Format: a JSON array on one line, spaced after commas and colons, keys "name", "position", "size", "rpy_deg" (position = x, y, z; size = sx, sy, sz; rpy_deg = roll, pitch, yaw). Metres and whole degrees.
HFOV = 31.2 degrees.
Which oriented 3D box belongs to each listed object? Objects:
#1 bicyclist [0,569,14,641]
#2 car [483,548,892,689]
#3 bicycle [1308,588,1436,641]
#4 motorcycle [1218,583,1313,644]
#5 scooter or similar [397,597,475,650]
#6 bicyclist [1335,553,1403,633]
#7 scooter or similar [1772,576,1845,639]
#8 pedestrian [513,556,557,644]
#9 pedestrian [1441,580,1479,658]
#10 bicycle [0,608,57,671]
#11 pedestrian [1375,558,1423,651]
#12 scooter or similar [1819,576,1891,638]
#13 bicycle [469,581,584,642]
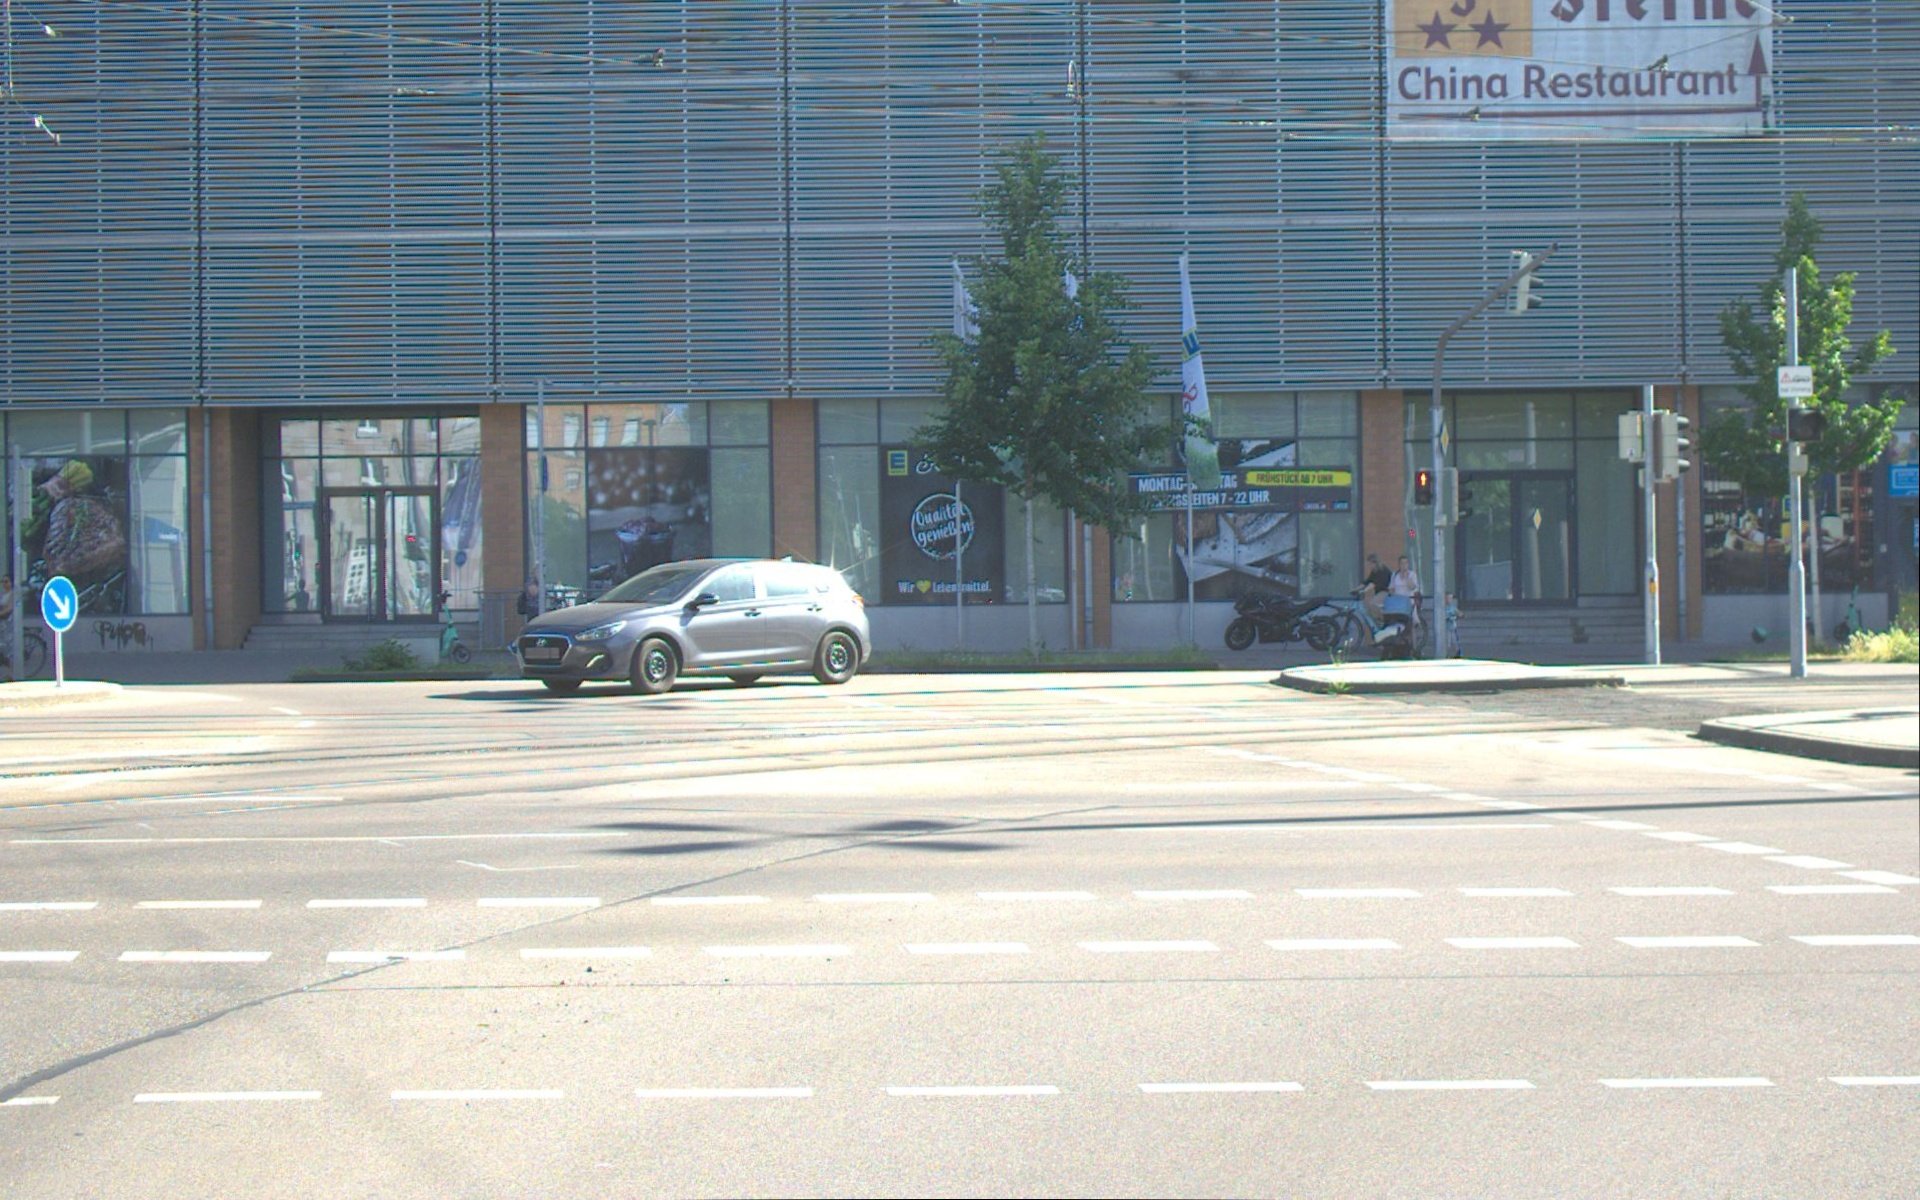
[{"name": "bicyclist", "position": [-15.278, 0.075, 54.197], "size": [0.562, 1.136, 0.560], "rpy_deg": [-1, 0, -33]}, {"name": "car", "position": [-3.011, 0.172, 38.597], "size": [4.298, 1.494, 1.999], "rpy_deg": [-1, 1, -45]}, {"name": "bicycle", "position": [6.903, 0.244, 57.655], "size": [2.041, 0.864, 0.682], "rpy_deg": [0, 0, -1]}, {"name": "motorcycle", "position": [5.332, 0.236, 60.064], "size": [1.614, 1.035, 0.402], "rpy_deg": [0, 0, 1]}, {"name": "scooter or similar", "position": [-8.520, 0.387, 55.861], "size": [1.223, 0.848, 0.301], "rpy_deg": [0, 0, -3]}, {"name": "bicyclist", "position": [6.851, -0.120, 57.663], "size": [1.036, 1.314, 0.682], "rpy_deg": [0, 0, -1]}, {"name": "scooter or similar", "position": [15.066, 0.130, 61.049], "size": [1.202, 1.099, 0.277], "rpy_deg": [1, 0, 2]}, {"name": "pedestrian", "position": [-7.311, -0.002, 59.130], "size": [0.647, 1.514, 0.491], "rpy_deg": [0, 0, 4]}, {"name": "pedestrian", "position": [7.882, 0.297, 54.190], "size": [0.447, 1.225, 0.397], "rpy_deg": [-1, 0, -40]}, {"name": "bicycle", "position": [-15.305, 0.627, 54.174], "size": [2.015, 0.982, 0.560], "rpy_deg": [-1, 0, -33]}, {"name": "pedestrian", "position": [7.026, 0.065, 54.974], "size": [0.739, 1.482, 0.490], "rpy_deg": [0, 0, 10]}, {"name": "scooter or similar", "position": [15.976, 0.124, 61.357], "size": [1.202, 1.099, 0.277], "rpy_deg": [1, 0, 2]}, {"name": "bicycle", "position": [-7.568, 0.197, 60.052], "size": [1.944, 1.035, 0.573], "rpy_deg": [0, 0, -4]}]
